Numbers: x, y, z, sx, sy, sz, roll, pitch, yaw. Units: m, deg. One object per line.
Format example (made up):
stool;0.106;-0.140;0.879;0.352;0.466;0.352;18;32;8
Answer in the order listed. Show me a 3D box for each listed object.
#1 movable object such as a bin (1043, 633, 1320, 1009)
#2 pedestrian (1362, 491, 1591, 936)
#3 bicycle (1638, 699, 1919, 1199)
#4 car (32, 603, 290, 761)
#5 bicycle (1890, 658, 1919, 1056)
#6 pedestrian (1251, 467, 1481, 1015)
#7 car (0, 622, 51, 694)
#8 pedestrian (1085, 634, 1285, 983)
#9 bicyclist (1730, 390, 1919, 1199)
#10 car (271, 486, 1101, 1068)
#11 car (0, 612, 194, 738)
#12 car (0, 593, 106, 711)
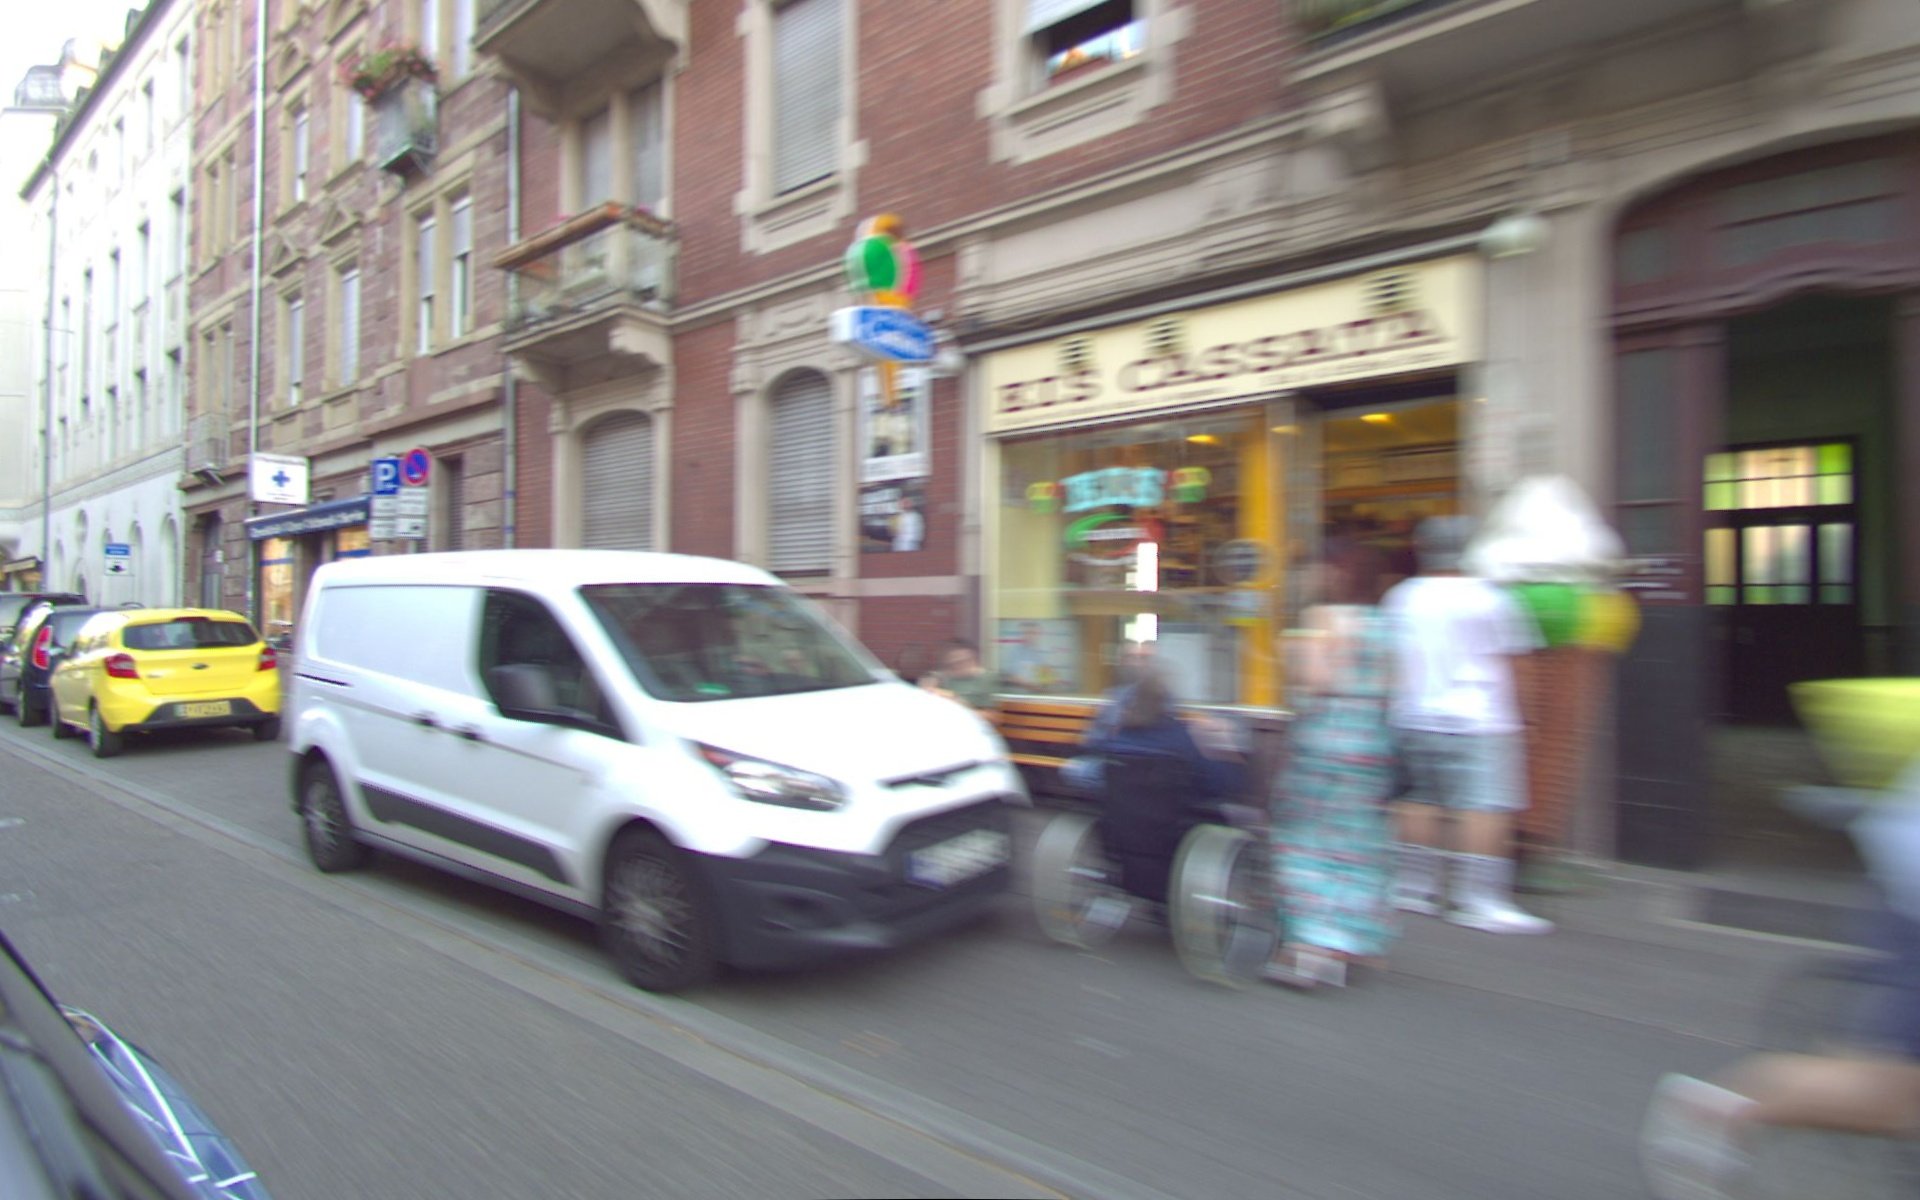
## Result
movable object such as a bin;0.907;0.782;4.085;0.775;1.260;0.878;0;0;39
pedestrian;2.340;0.464;4.616;0.590;1.827;0.722;0;0;-33
bicycle;1.911;0.830;1.634;0.514;1.164;1.781;0;0;3
car;-9.415;0.844;11.828;3.790;1.541;1.687;-1;-1;41
bicycle;3.676;0.774;2.500;0.460;1.164;2.002;0;0;-44
pedestrian;1.539;0.470;3.817;0.718;1.827;0.593;0;0;31
car;-21.172;1.203;21.608;4.476;1.441;1.909;-1;-1;38
pedestrian;0.914;0.782;4.122;0.652;1.260;0.473;0;0;40
bicyclist;1.780;0.526;1.604;0.522;1.716;0.789;0;0;4
car;-1.707;0.559;5.241;4.580;1.802;1.754;0;0;38
car;-12.962;0.994;14.898;3.967;1.608;1.907;-1;-1;41
car;-17.124;0.871;18.087;4.899;1.897;1.909;-1;-1;39
